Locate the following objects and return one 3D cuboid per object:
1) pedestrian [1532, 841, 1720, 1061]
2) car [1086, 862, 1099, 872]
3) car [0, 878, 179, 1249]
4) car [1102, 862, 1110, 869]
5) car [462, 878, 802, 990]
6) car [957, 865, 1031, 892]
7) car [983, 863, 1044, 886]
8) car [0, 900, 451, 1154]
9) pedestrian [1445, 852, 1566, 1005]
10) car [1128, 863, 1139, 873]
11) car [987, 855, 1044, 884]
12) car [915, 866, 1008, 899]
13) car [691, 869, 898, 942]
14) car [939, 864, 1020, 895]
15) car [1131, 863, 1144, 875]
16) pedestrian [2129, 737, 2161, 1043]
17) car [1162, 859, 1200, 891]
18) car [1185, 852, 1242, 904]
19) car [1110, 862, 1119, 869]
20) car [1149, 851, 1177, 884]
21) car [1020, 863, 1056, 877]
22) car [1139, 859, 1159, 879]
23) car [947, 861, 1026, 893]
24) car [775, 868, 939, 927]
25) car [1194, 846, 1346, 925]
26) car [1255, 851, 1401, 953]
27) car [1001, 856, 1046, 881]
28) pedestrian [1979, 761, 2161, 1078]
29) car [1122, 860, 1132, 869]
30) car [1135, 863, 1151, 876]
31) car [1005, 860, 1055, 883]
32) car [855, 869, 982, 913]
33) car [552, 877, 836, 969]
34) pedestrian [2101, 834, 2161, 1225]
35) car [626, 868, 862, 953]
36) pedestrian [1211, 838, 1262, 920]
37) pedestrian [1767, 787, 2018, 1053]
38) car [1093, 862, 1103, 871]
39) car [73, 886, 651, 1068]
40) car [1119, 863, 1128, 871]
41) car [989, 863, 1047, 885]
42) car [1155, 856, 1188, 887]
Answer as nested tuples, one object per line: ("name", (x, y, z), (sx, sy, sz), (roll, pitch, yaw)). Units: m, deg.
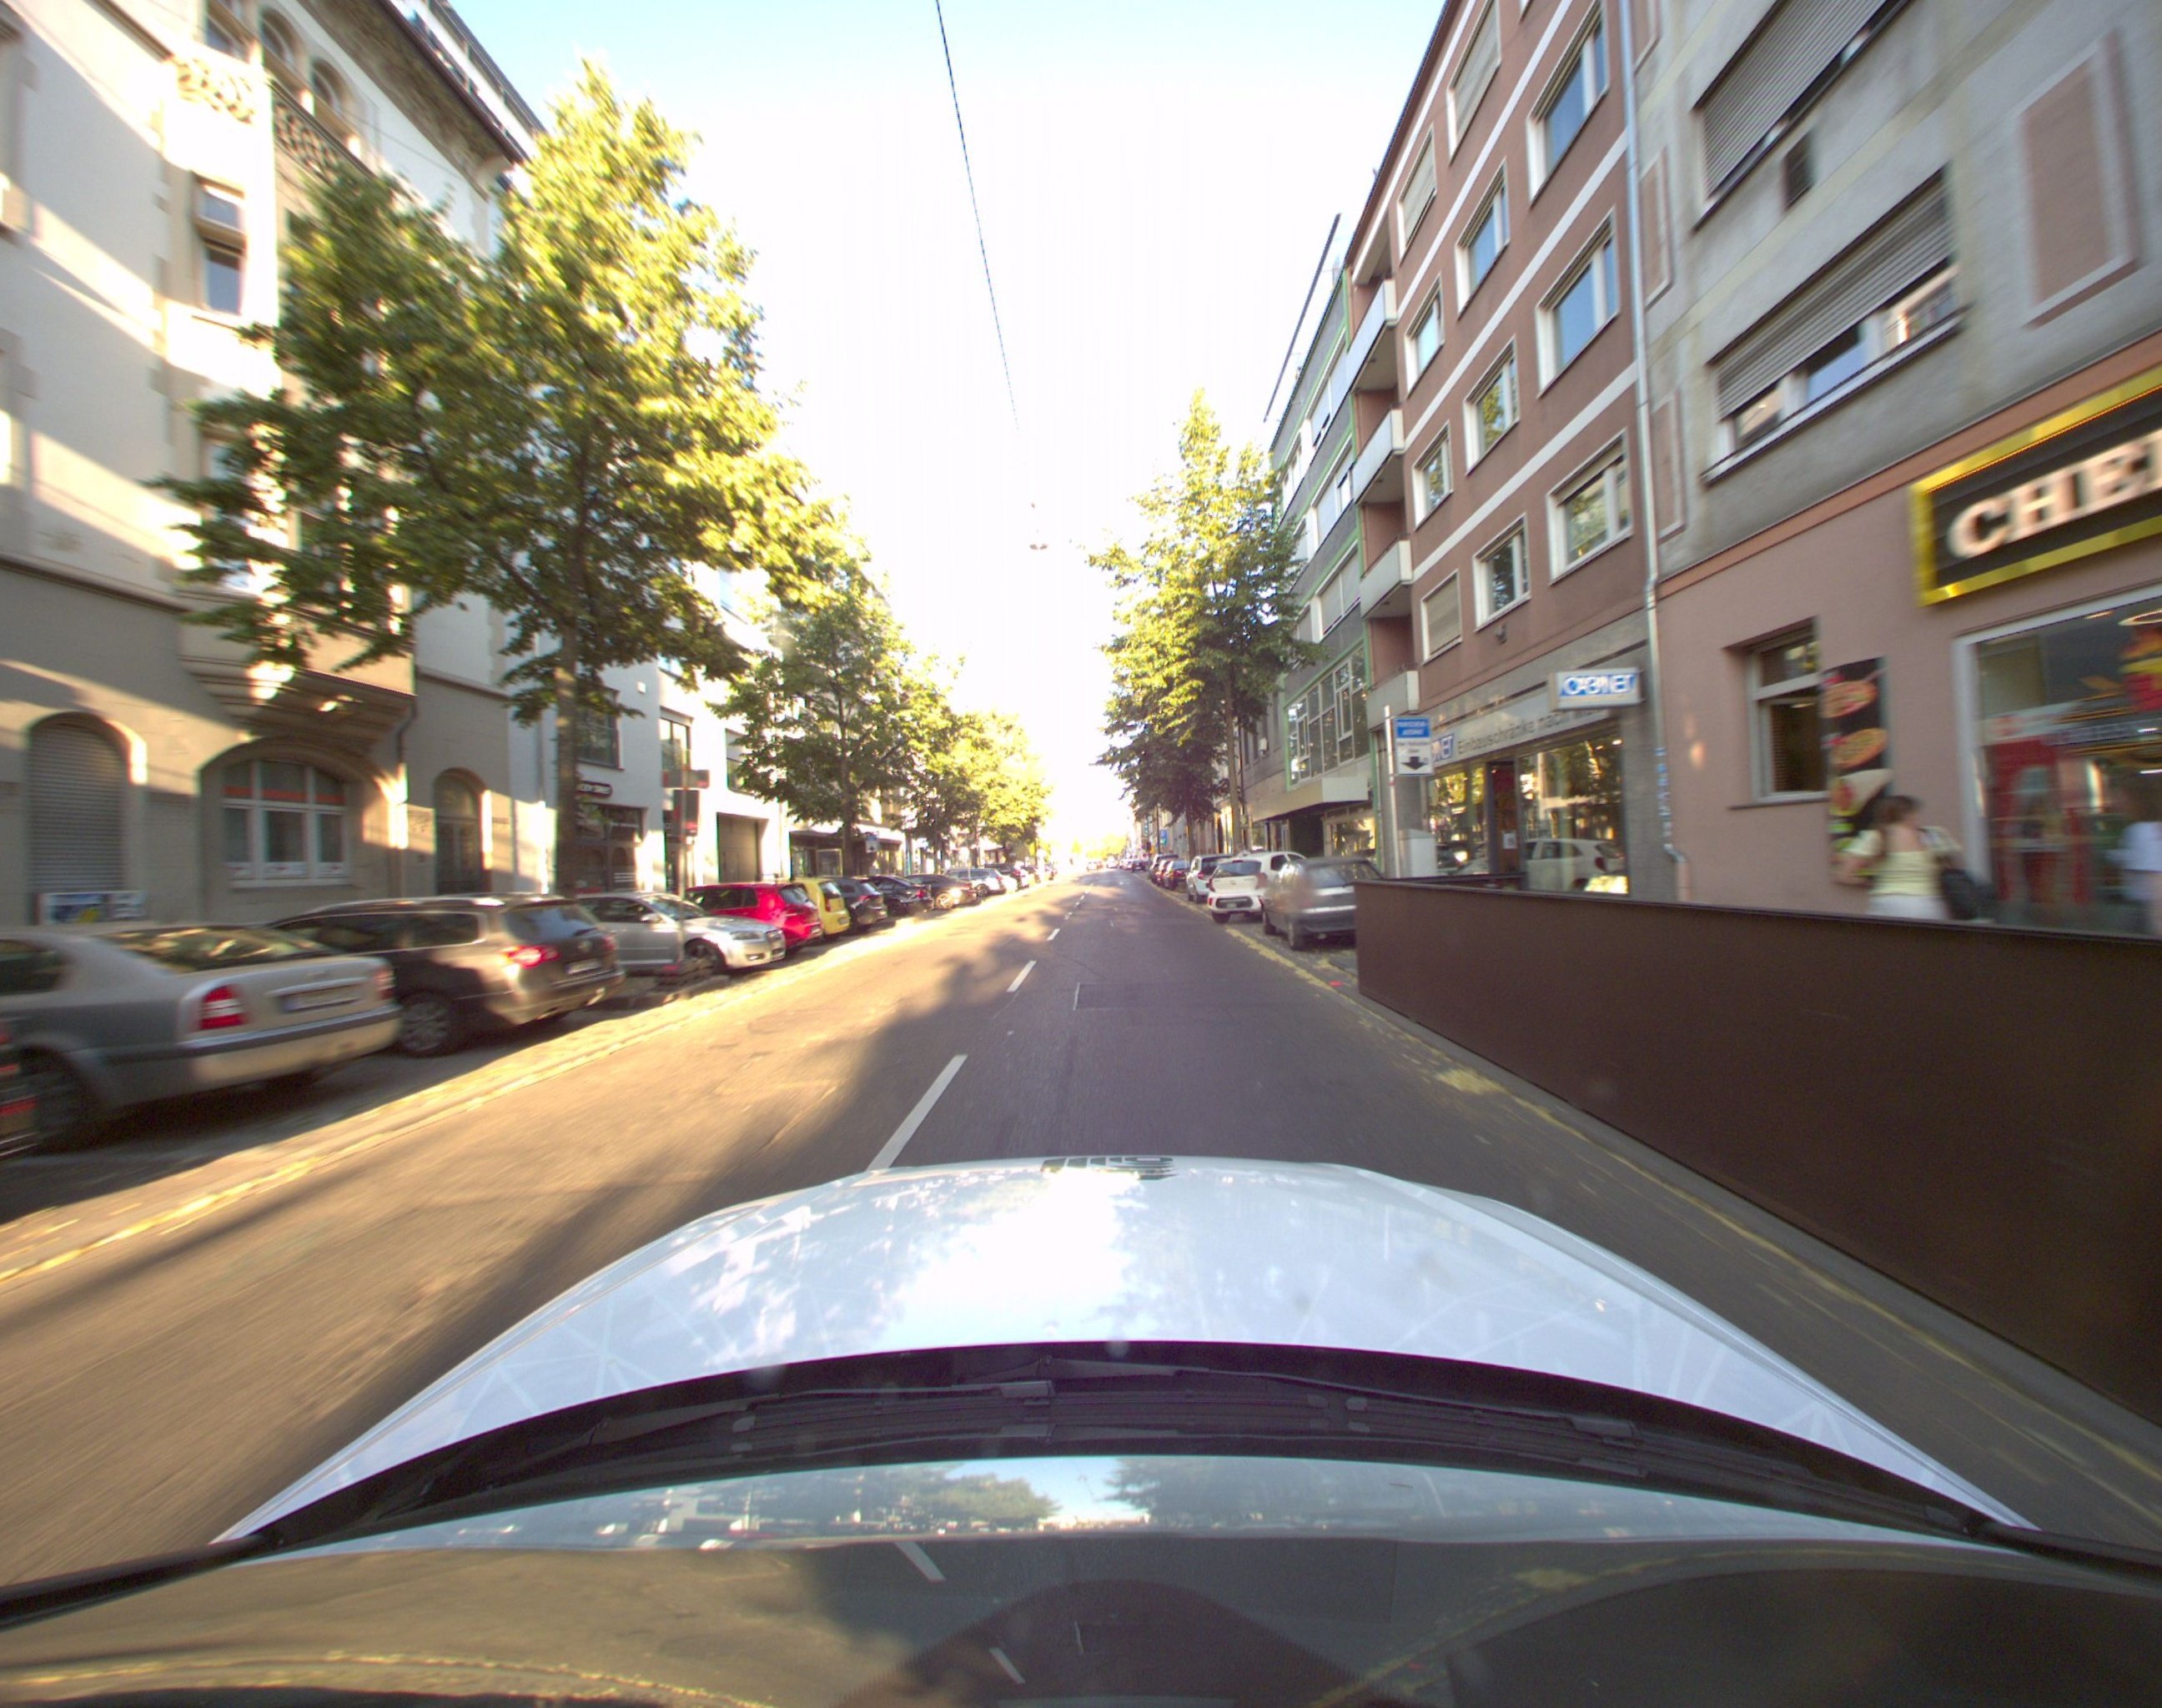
("pedestrian", (3.693, 0.620, 5.588), (0.723, 1.378, 0.781), (-3, 0, 2))
("car", (1.854, 2.115, 130.360), (1.920, 1.571, 3.305), (-2, -1, 2))
("car", (-7.309, 1.056, 3.528), (4.553, 1.698, 2.061), (-2, -1, 2))
("car", (5.534, 2.467, 178.980), (1.563, 1.506, 3.306), (-3, -1, 3))
("car", (-7.037, 1.234, 13.081), (4.425, 1.484, 1.810), (-2, -1, 2))
("car", (-5.533, 1.555, 52.106), (4.425, 1.499, 1.920), (-2, -1, 2))
("car", (-5.212, 1.548, 63.199), (4.425, 1.578, 1.920), (-2, -1, 2))
("car", (-7.617, 1.201, 6.087), (4.425, 1.467, 1.781), (-2, -1, 2))
("pedestrian", (4.088, 0.685, 7.908), (0.723, 1.378, 0.781), (-3, 0, 2))
("car", (7.466, 1.990, 116.643), (1.507, 1.263, 3.306), (-2, -1, 3))
("car", (-5.455, 1.308, 68.352), (4.425, 2.199, 1.920), (-2, -1, 2))
("car", (-6.184, 1.454, 42.494), (4.425, 1.523, 1.920), (-2, -1, 2))
("car", (-7.058, 1.252, 20.392), (4.425, 1.568, 1.920), (-2, -1, 2))
("car", (-5.783, 1.450, 46.887), (4.287, 1.598, 1.920), (-2, -1, 2))
("car", (6.852, 1.806, 98.493), (1.507, 1.276, 3.306), (-2, -1, 3))
("pedestrian", (6.627, 0.204, 4.408), (0.693, 1.805, 0.894), (-3, 0, 10))
("car", (4.763, 0.995, 39.200), (1.507, 1.406, 3.839), (-2, -1, 3))
("car", (4.330, 0.767, 26.976), (1.507, 1.578, 3.220), (-2, -1, 3))
("car", (6.764, 2.329, 165.602), (1.714, 1.475, 3.306), (-3, -1, 3))
("car", (5.076, 0.829, 50.887), (1.507, 1.864, 4.238), (-2, -1, 3))
("car", (-5.612, 2.149, 107.063), (4.425, 1.645, 1.920), (-2, -1, 2))
("car", (5.734, 1.239, 69.178), (1.507, 1.561, 3.776), (-2, -1, 3))
("car", (-5.633, 1.355, 48.988), (4.425, 1.759, 1.920), (-2, -1, 2))
("car", (-6.825, 1.300, 25.103), (4.425, 1.568, 1.920), (-2, -1, 2))
("car", (4.503, 0.666, 19.045), (1.654, 1.588, 3.846), (-3, 0, 44))
("car", (4.032, 0.720, 13.848), (1.536, 1.433, 3.681), (-2, 0, 4))
("car", (-6.058, 1.515, 86.473), (4.425, 2.435, 1.920), (-2, -1, 2))
("pedestrian", (6.016, 0.335, 4.714), (0.627, 1.680, 0.894), (-3, 0, 10))
("car", (8.445, 1.954, 150.999), (1.745, 1.540, 3.306), (-3, -1, 3))
("car", (6.360, 1.608, 83.644), (1.507, 1.201, 3.306), (-2, -1, 3))
("car", (-4.775, 1.641, 76.270), (4.425, 1.959, 1.920), (-2, -1, 2))
("car", (-6.228, 1.414, 31.614), (4.425, 1.448, 1.920), (-2, -1, 2))
("car", (-7.172, 1.256, 15.404), (4.425, 1.458, 1.860), (-2, -1, 2))
("pedestrian", (4.150, 0.609, 2.609), (0.723, 1.378, 0.781), (-3, 0, 2))
("car", (-7.401, 1.211, 18.169), (4.425, 1.638, 1.860), (-2, -1, 2))
("pedestrian", (3.770, 0.589, 19.833), (0.916, 1.926, 1.014), (-1, -1, -8))
("pedestrian", (5.402, 0.418, 5.507), (0.791, 1.625, 0.915), (-3, 0, 14))
("car", (3.390, 2.423, 159.011), (1.745, 1.540, 3.306), (-3, -1, 3))
("car", (-7.228, 1.189, 8.525), (4.425, 1.506, 1.845), (-2, -1, 2))
("car", (7.288, 2.147, 139.648), (1.507, 1.298, 3.306), (-2, -1, 3))
("car", (-5.057, 1.589, 66.020), (4.425, 1.578, 1.920), (-2, -1, 2))
("car", (4.889, 0.947, 44.297), (1.507, 1.561, 3.516), (-2, -1, 3))
